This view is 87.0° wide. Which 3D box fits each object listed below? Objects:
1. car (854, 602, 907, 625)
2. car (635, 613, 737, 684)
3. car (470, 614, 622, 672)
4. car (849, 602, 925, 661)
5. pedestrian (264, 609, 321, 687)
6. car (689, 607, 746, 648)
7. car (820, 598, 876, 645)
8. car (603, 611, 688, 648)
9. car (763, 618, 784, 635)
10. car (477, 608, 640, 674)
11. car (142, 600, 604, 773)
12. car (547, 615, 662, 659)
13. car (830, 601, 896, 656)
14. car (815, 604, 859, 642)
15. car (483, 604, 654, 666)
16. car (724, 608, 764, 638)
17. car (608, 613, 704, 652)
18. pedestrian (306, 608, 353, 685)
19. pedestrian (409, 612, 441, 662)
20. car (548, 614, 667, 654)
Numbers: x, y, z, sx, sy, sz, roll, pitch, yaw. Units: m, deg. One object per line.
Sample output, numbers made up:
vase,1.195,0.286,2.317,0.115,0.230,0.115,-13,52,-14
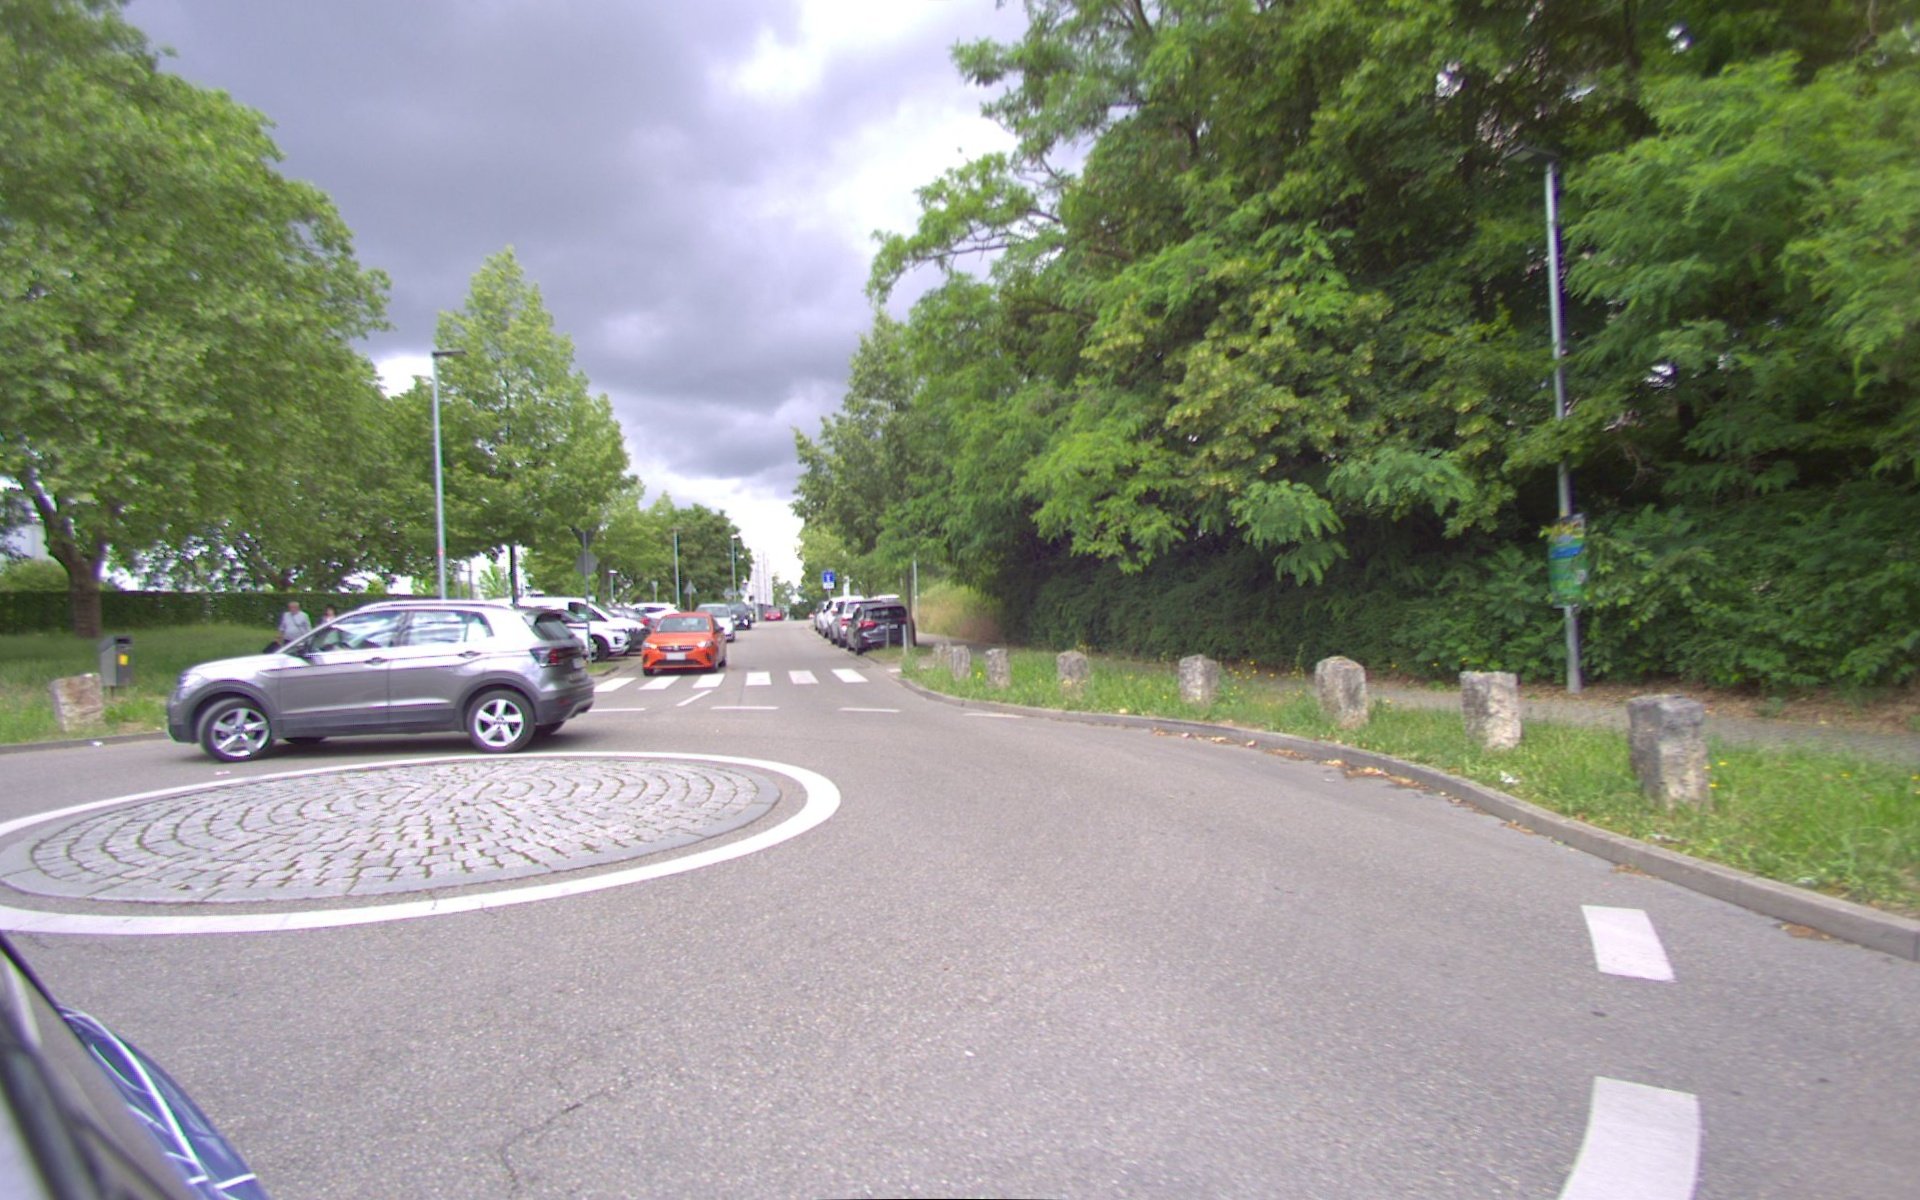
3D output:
car,-6.283,1.057,79.973,3.990,1.652,1.653,-3,-1,35
car,-6.586,1.116,24.729,1.733,1.527,4.005,-3,-1,-6
car,-10.941,1.117,26.954,3.466,1.472,1.743,0,-1,-10
car,-2.267,0.909,30.266,1.668,1.476,4.466,-5,0,-11
pedestrian,-14.836,1.064,22.522,0.858,1.669,0.594,-2,-1,-11
car,-10.034,1.118,42.162,1.733,1.527,4.005,-3,-1,-6
car,-4.651,0.885,41.456,1.784,1.677,4.446,-5,0,-11
car,-14.858,1.367,47.956,3.623,1.659,1.855,-1,-1,-8
car,-19.368,2.740,105.157,1.733,1.629,4.005,-3,-1,-6
car,-11.505,1.155,29.244,4.096,1.614,1.743,-3,-1,-11
car,-6.060,0.841,10.868,3.947,1.630,1.725,-1,-1,-7
car,-13.038,1.337,37.312,3.774,1.531,1.916,0,-1,-11
car,-3.482,0.936,35.481,1.776,1.627,4.488,-5,1,-11
car,-5.750,1.049,46.983,1.668,1.522,4.239,-5,0,-11
car,-12.194,1.076,31.798,4.713,1.845,1.846,0,-1,-8
car,-12.411,1.316,58.345,1.733,1.629,4.005,-3,-1,-6
car,-13.590,1.431,45.501,3.934,1.530,1.888,-3,0,-11
pedestrian,-14.127,1.035,22.686,0.679,1.669,0.601,-2,-1,-12
pedestrian,-16.674,1.147,31.537,0.667,1.531,0.708,-2,-1,-13
car,-14.740,1.386,42.526,4.513,1.503,1.957,-1,0,-13
